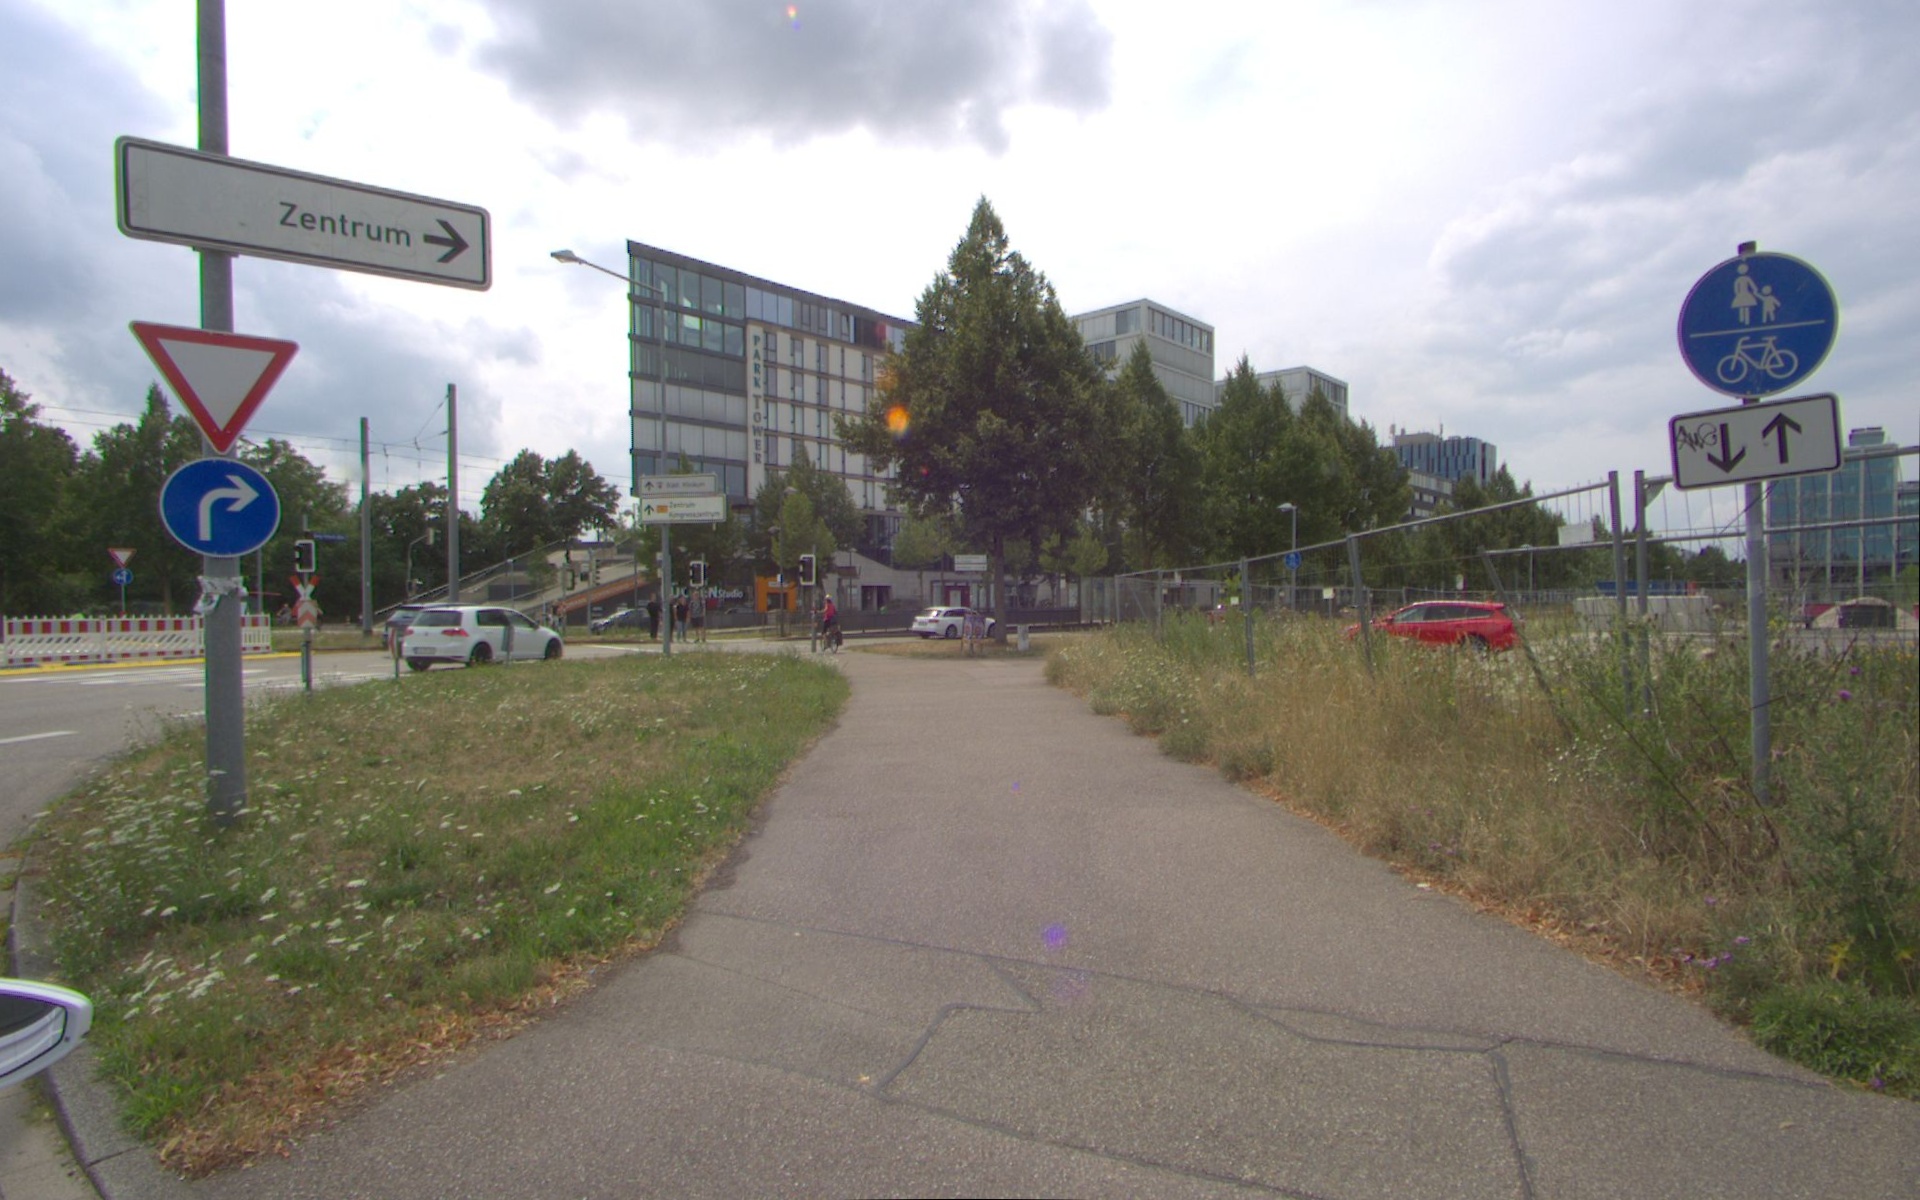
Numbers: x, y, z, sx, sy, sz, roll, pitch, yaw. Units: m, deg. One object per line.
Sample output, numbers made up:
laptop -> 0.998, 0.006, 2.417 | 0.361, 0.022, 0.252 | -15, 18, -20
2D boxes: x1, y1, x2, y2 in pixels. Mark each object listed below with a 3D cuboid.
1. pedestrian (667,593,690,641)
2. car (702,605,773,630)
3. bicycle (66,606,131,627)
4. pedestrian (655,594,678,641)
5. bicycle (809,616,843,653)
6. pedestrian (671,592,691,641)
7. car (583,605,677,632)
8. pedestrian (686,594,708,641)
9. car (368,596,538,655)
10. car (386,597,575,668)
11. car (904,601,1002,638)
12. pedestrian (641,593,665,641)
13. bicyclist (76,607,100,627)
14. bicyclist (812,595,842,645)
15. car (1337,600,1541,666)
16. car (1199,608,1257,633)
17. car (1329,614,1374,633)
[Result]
pedestrian -> -10.798, 0.645, 38.415 | 0.546, 1.805, 0.685 | 1, 1, 37
car -> -13.690, 1.051, 61.714 | 1.829, 1.477, 3.963 | 1, 0, 44
bicycle -> -39.368, 0.744, 45.801 | 2.167, 0.950, 0.613 | 0, -1, -21
pedestrian -> -11.359, 0.671, 38.757 | 0.546, 1.805, 0.629 | 1, 1, 37
bicycle -> -4.497, 1.128, 33.488 | 0.778, 1.183, 2.037 | 0, 0, -18
pedestrian -> -10.923, 0.644, 39.226 | 0.546, 1.887, 0.527 | 1, 1, 37
car -> -18.378, 1.015, 55.843 | 1.829, 1.477, 4.695 | 1, 0, 44
pedestrian -> -10.232, 0.664, 38.961 | 0.546, 1.805, 0.576 | 1, 1, 37
car -> -14.166, 0.676, 28.227 | 1.772, 1.517, 4.104 | 0, 0, 24
car -> -11.134, 0.704, 23.628 | 1.768, 1.517, 4.256 | 0, 0, 13
car -> -0.266, 0.901, 46.966 | 1.978, 1.639, 4.712 | 0, 0, 42
pedestrian -> -11.711, 0.627, 38.156 | 0.546, 1.805, 0.685 | 1, 1, 37
bicyclist -> -39.747, 0.768, 45.654 | 0.647, 0.895, 0.605 | 0, -1, -21
bicyclist -> -4.433, 0.647, 33.291 | 0.778, 1.649, 1.046 | 0, 1, -19
car -> 12.208, 0.788, 25.652 | 4.471, 1.553, 1.777 | 0, 0, 37
car -> 18.306, 1.363, 68.308 | 1.977, 1.639, 4.713 | 0, 0, 41
car -> 30.378, 1.773, 77.625 | 1.978, 1.392, 3.966 | 0, 0, 42
